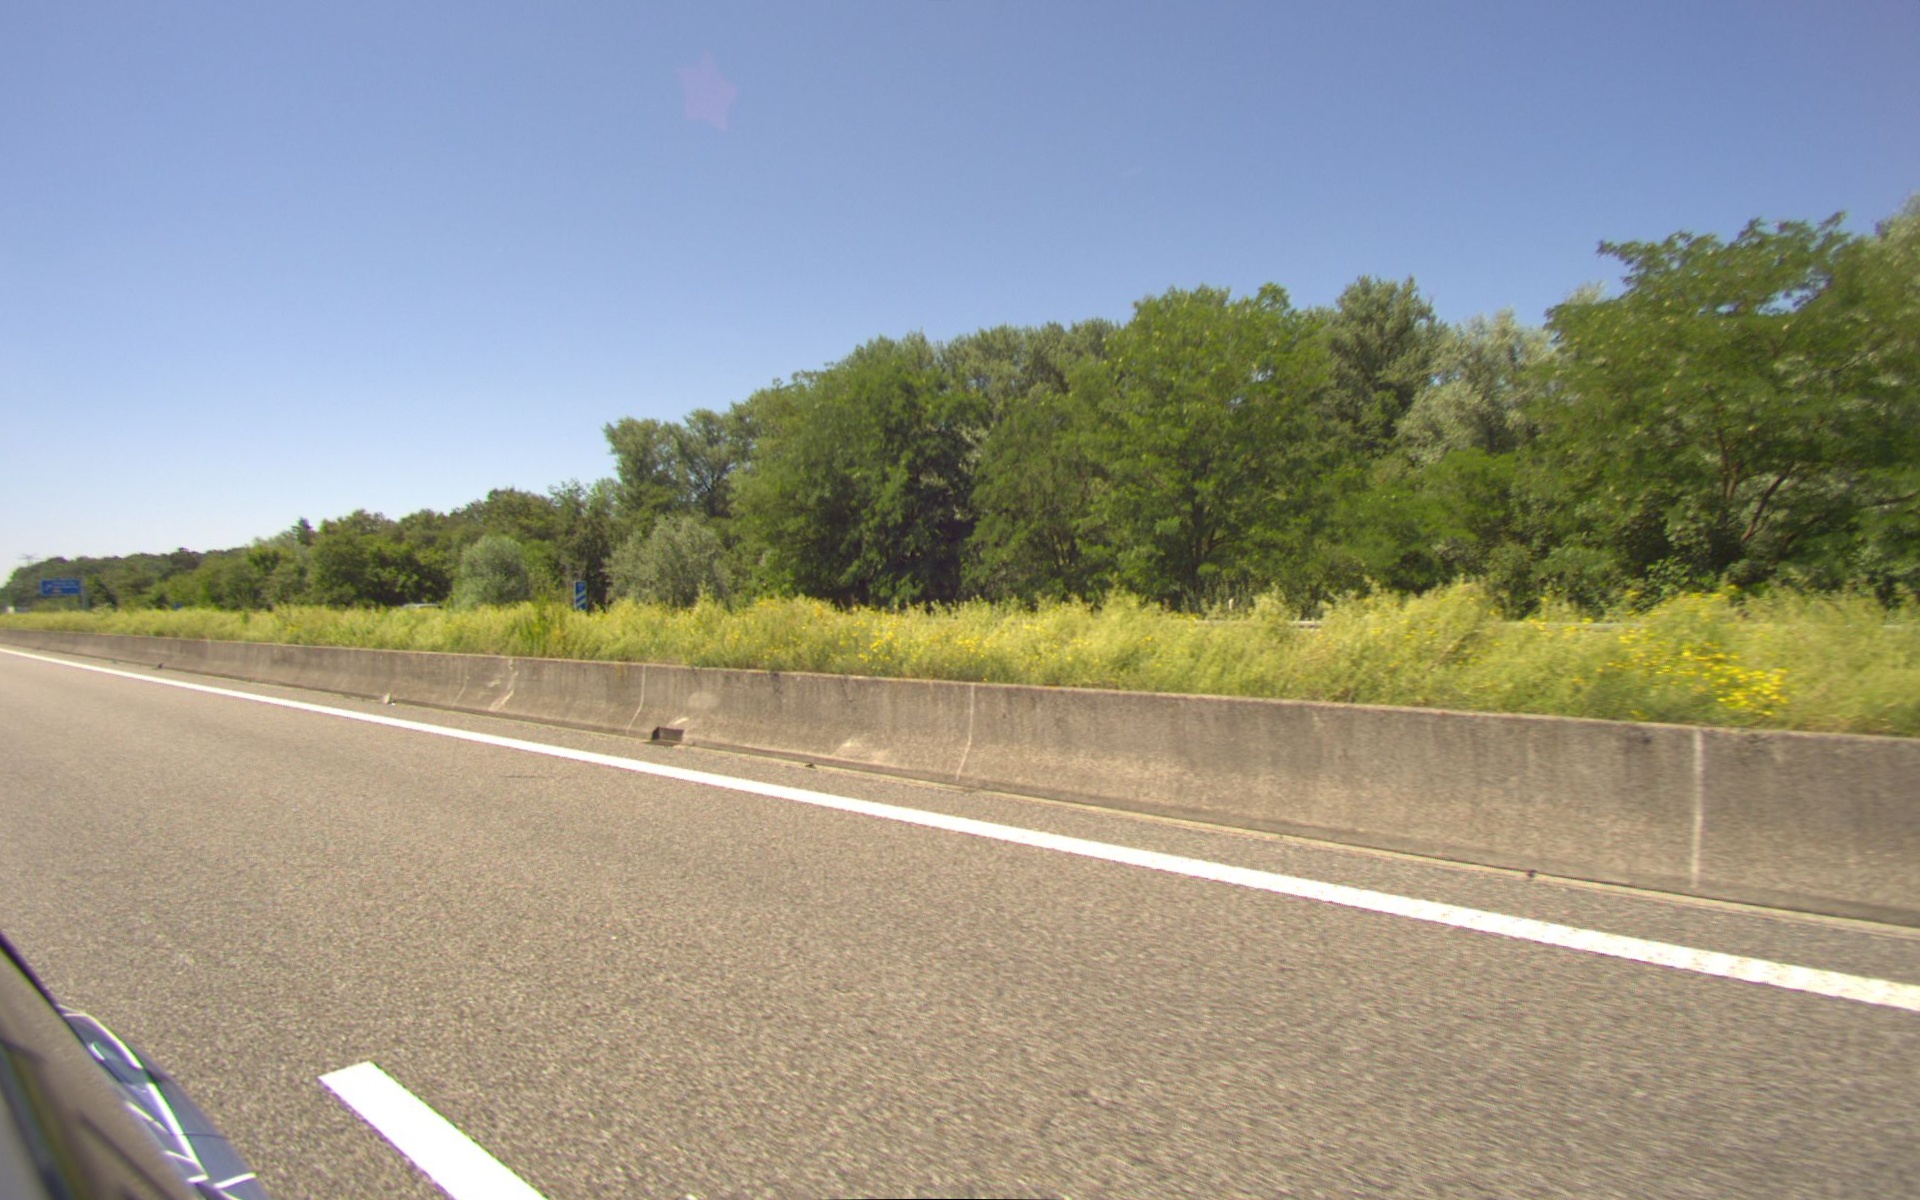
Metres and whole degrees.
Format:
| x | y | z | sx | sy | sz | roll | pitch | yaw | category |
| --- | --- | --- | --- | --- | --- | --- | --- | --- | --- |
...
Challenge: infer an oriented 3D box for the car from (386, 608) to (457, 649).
| x | y | z | sx | sy | sz | roll | pitch | yaw | category |
| --- | --- | --- | --- | --- | --- | --- | --- | --- | --- |
| -27.730 | 1.455 | 52.060 | 3.998 | 2.029 | 1.973 | -1 | -1 | 41 | car |

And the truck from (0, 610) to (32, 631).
| x | y | z | sx | sy | sz | roll | pitch | yaw | category |
| --- | --- | --- | --- | --- | --- | --- | --- | --- | --- |
| -184.076 | 3.985 | 196.903 | 17.479 | 3.763 | 3.560 | -2 | -1 | 42 | truck |
